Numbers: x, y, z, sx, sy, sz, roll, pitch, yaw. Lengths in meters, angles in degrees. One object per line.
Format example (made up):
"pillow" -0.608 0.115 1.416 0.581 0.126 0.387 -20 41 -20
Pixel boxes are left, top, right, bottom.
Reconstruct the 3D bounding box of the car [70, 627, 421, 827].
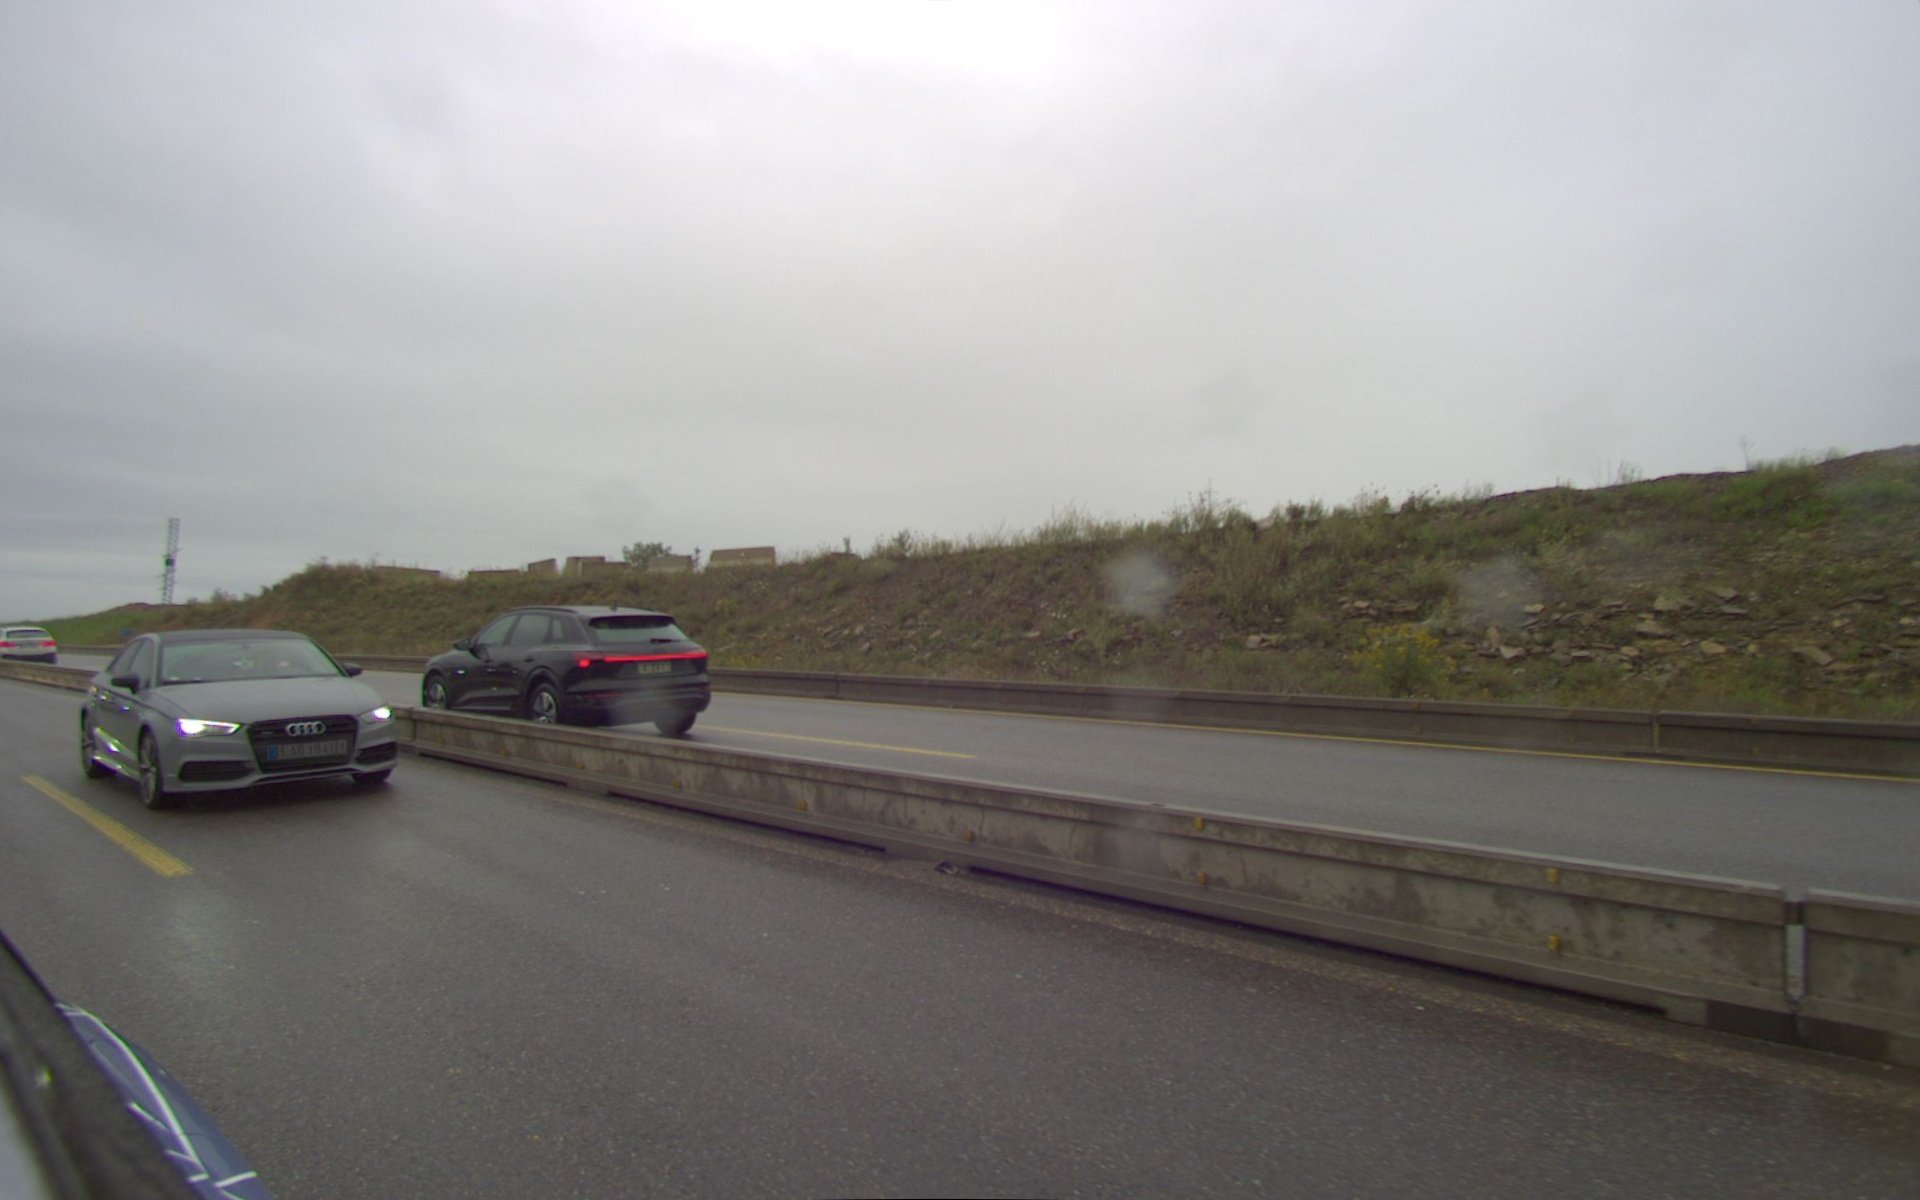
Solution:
"car" -6.703 0.972 9.323 4.086 1.393 1.781 -1 -1 42

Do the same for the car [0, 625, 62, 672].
"car" -35.843 1.793 38.319 4.985 1.645 2.025 -1 -1 40

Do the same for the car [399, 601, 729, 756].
"car" -5.159 0.888 12.813 4.898 1.605 1.793 -1 -3 41
